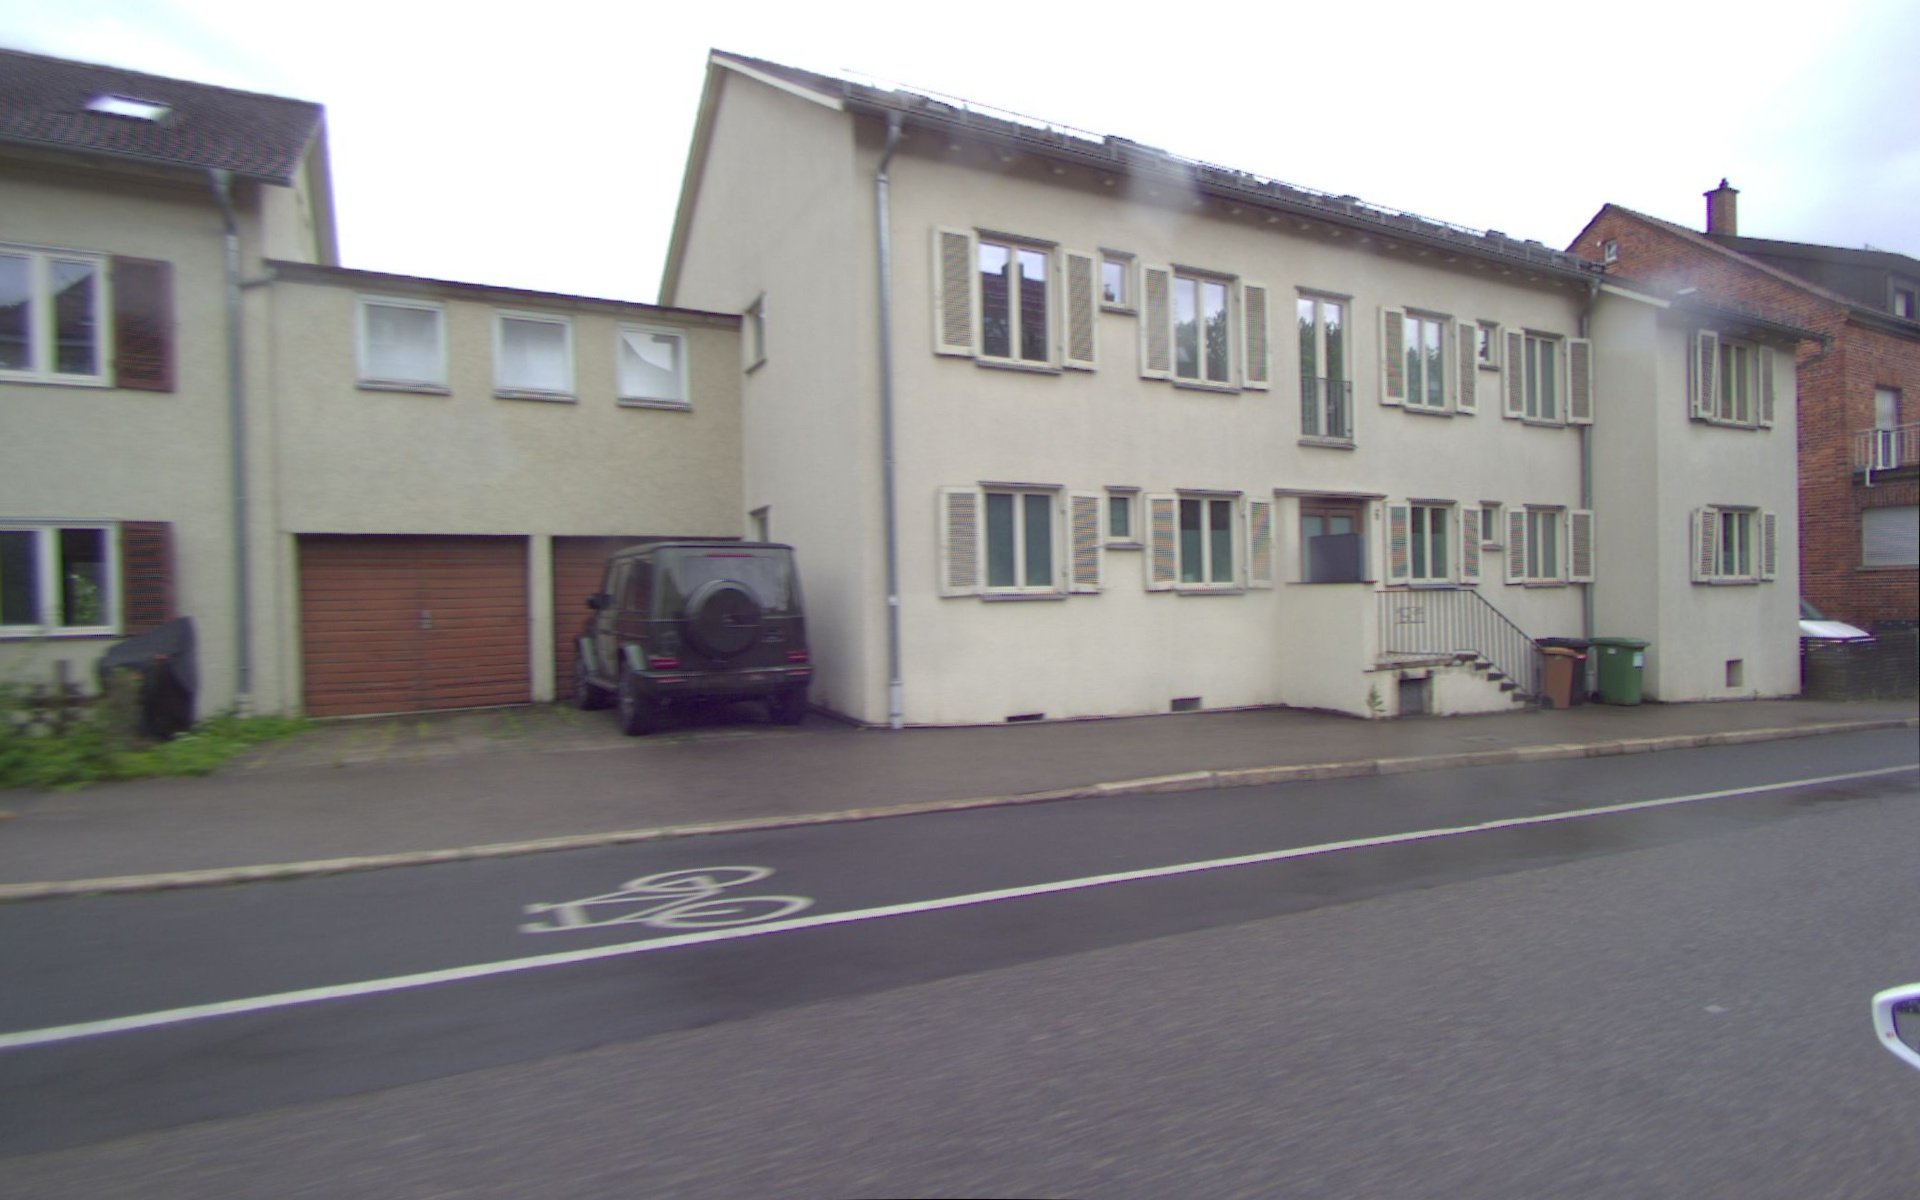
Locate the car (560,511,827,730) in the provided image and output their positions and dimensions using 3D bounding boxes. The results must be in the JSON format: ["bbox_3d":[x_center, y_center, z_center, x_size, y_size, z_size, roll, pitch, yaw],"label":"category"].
[{"bbox_3d":[-3.307,0.217,11.759,1.866,2.040,4.465,0,0,-31],"label":"car"}]

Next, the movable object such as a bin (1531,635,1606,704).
[{"bbox_3d":[9.827,1.111,16.229,0.699,1.060,0.778,1,0,-28],"label":"movable object such as a bin"}]

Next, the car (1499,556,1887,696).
[{"bbox_3d":[15.664,0.544,22.104,2.140,2.587,6.629,3,-1,-27],"label":"car"}]

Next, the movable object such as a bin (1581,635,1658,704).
[{"bbox_3d":[10.697,1.114,16.296,0.729,1.060,0.778,1,0,-28],"label":"movable object such as a bin"}]

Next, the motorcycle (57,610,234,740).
[{"bbox_3d":[-8.088,0.697,10.100,0.828,1.150,2.087,3,-1,-24],"label":"motorcycle"}]

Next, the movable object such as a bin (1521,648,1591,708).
[{"bbox_3d":[9.177,1.184,15.474,0.699,0.871,0.670,1,0,-28],"label":"movable object such as a bin"}]
